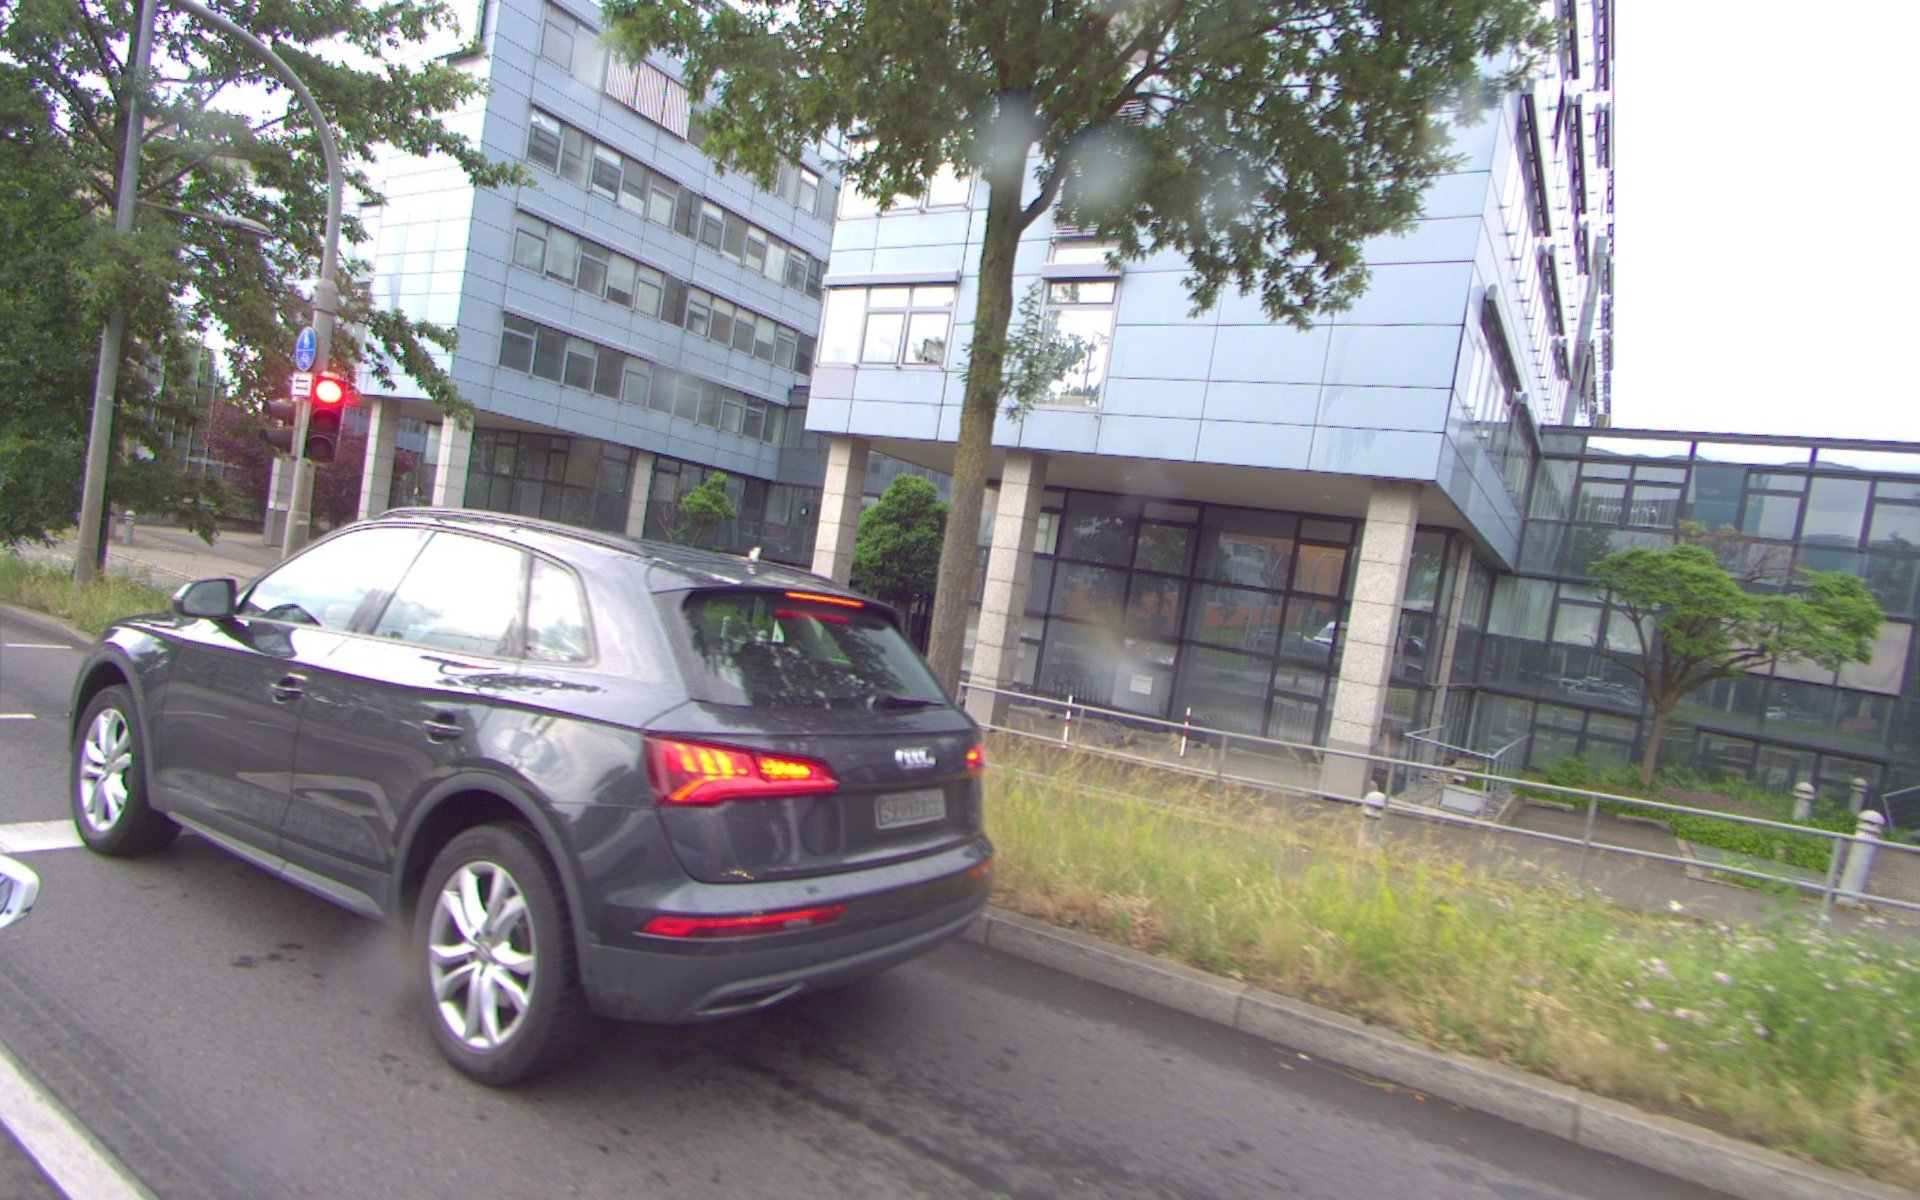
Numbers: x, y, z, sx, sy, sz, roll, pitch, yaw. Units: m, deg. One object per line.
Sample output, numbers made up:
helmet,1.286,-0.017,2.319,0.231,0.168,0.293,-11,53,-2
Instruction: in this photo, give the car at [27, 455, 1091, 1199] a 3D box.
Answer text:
car,-1.910,0.450,4.292,4.396,1.632,1.821,7,-1,32
